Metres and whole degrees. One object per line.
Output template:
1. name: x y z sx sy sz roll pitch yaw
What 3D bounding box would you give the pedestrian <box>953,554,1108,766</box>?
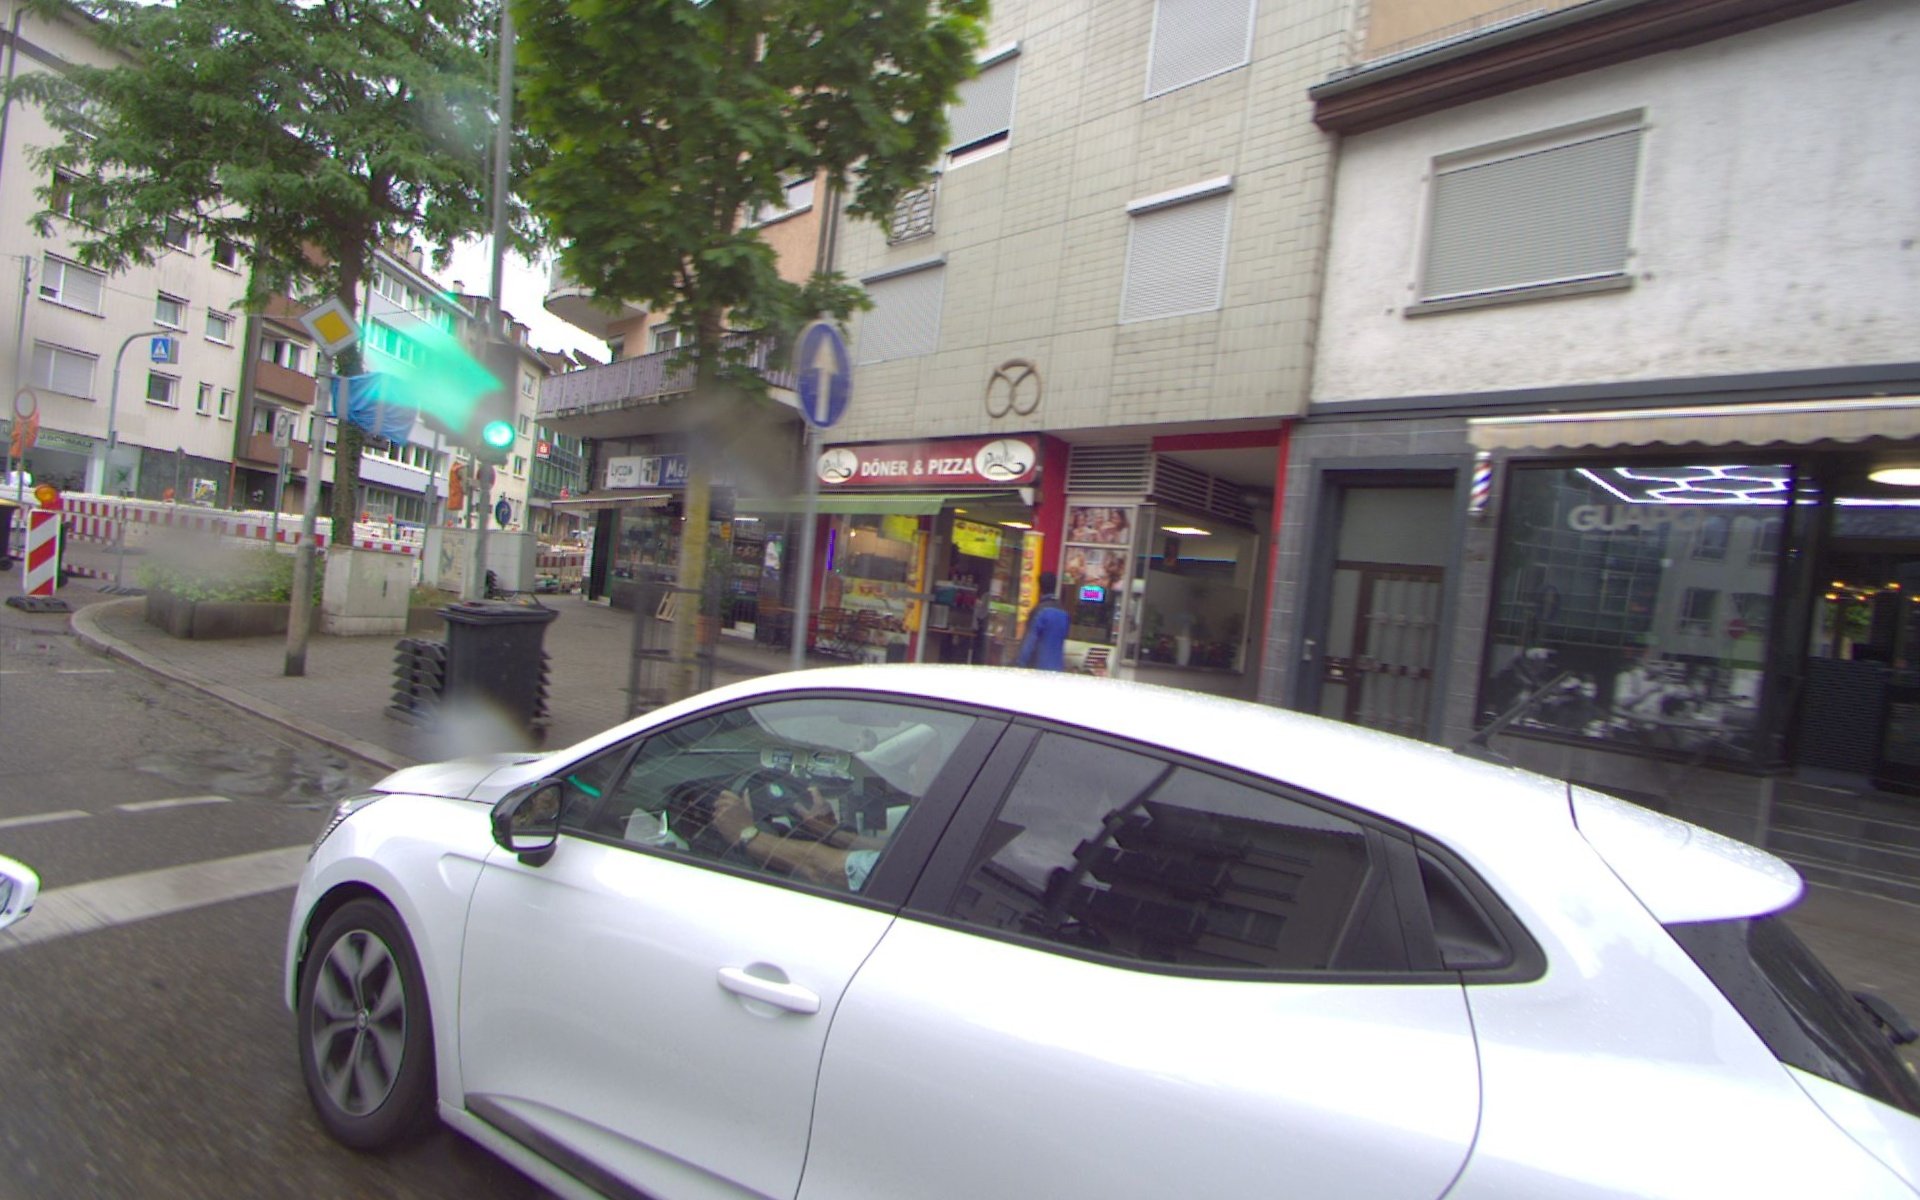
1. pedestrian: 0.629 0.526 9.218 0.959 1.816 0.899 3 2 -29

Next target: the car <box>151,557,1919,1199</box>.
1. car: -0.266 0.800 2.696 3.933 1.422 1.677 6 2 31

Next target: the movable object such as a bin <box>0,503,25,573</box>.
1. movable object such as a bin: -14.926 -0.975 15.466 0.522 1.045 0.621 8 3 29

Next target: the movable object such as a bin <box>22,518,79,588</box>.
1. movable object such as a bin: -13.119 -0.674 14.508 0.522 0.942 0.420 8 3 29

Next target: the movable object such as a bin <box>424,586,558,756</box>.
1. movable object such as a bin: -3.472 0.505 7.448 0.655 1.126 0.577 9 4 35

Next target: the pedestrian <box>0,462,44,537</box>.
1. pedestrian: -25.658 -2.721 27.371 0.647 1.904 0.990 4 1 -15

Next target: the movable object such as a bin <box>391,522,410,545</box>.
1. movable object such as a bin: -28.228 -3.341 50.767 0.521 1.060 0.539 7 -1 -1
